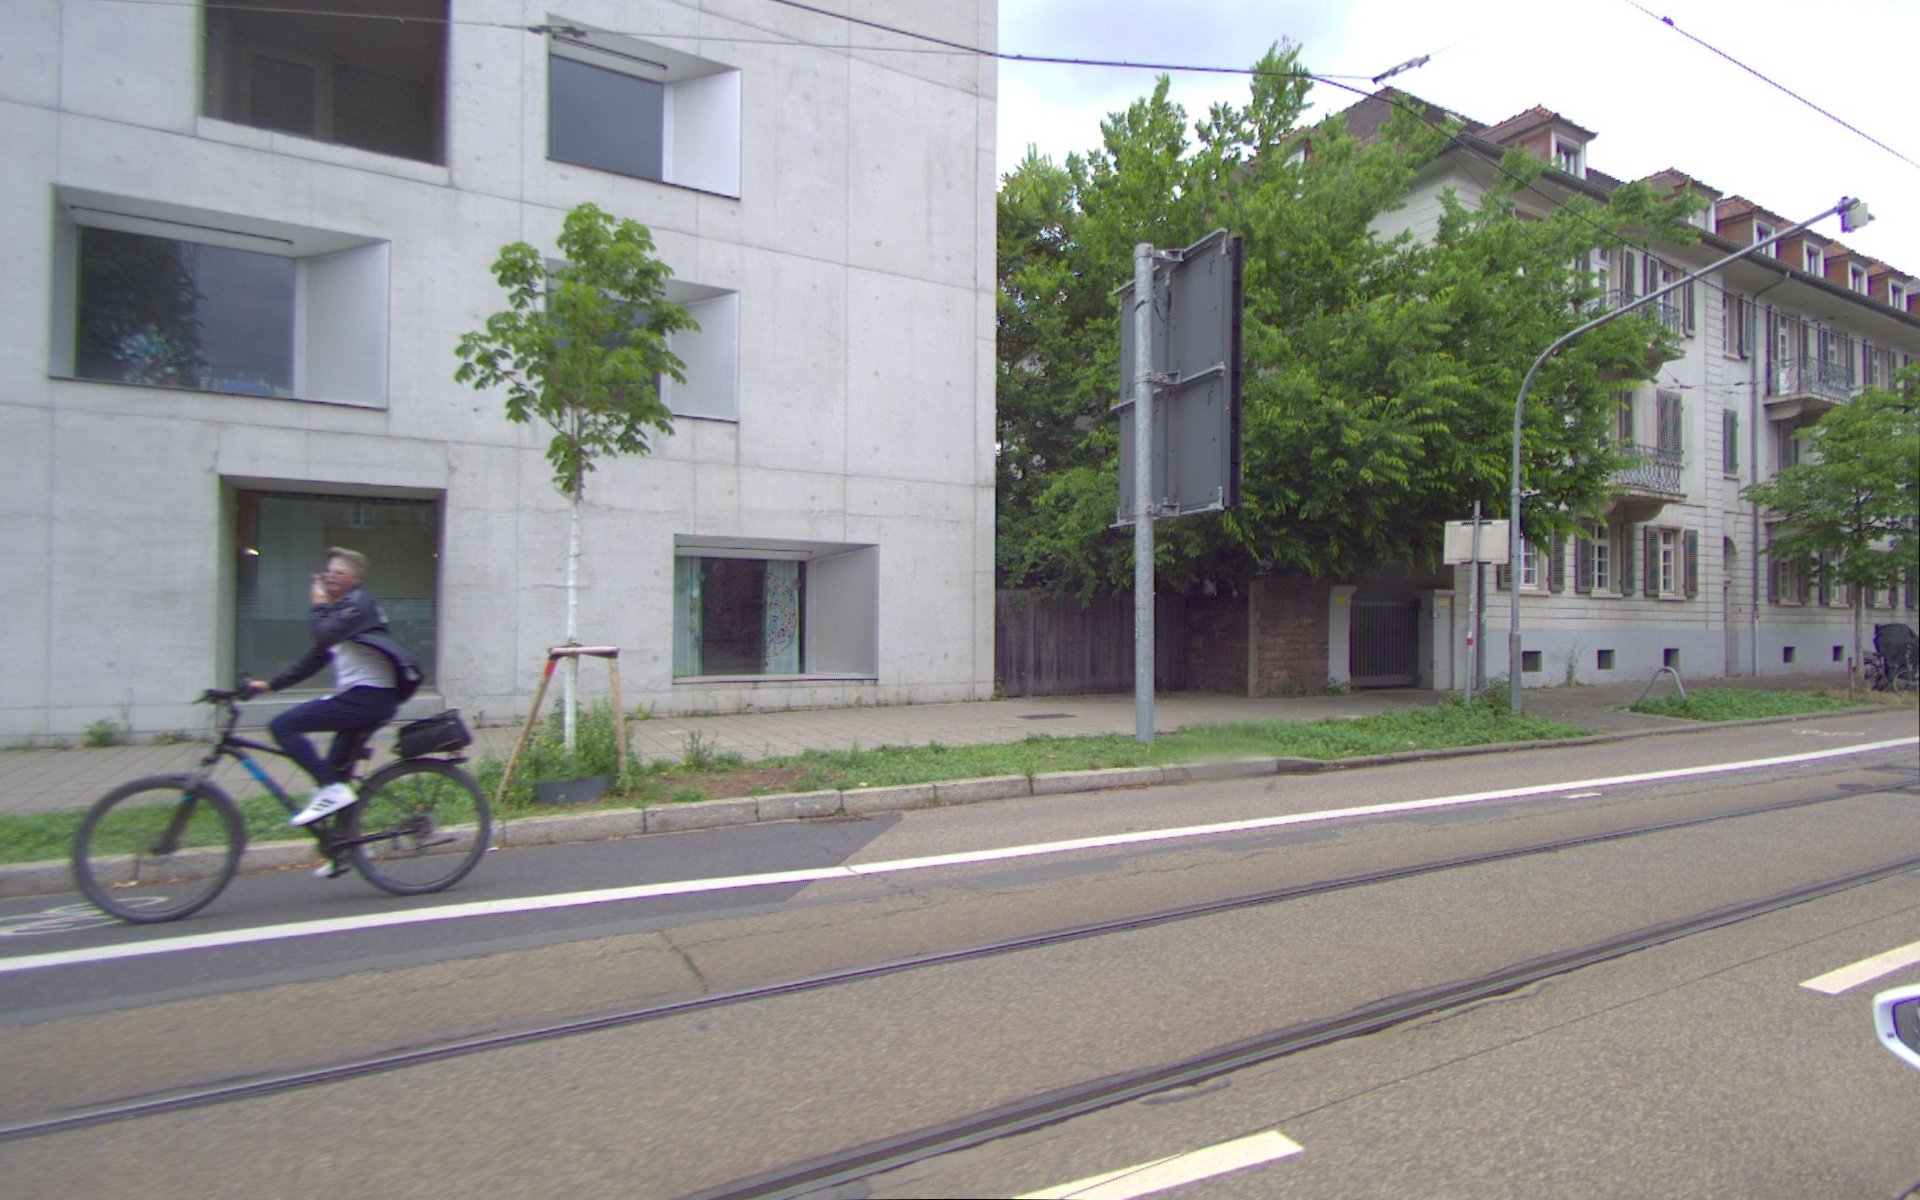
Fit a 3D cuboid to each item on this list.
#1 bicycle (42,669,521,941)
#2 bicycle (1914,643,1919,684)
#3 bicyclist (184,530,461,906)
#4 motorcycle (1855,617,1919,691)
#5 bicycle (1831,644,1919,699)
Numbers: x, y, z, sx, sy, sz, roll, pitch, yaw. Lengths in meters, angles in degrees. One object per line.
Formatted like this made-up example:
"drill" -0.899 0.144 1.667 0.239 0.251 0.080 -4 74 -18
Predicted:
"bicycle" -3.441 0.992 5.376 1.982 1.201 0.790 1 -4 -24
"bicycle" 25.346 1.643 25.245 0.558 1.041 1.883 1 0 -33
"bicyclist" -3.361 0.589 5.440 1.131 1.807 0.789 1 -3 -24
"motorcycle" 22.247 1.253 23.593 2.443 1.665 0.831 1 -1 -22
"bicycle" 20.467 1.569 22.312 0.509 1.144 1.744 0 -2 -11
